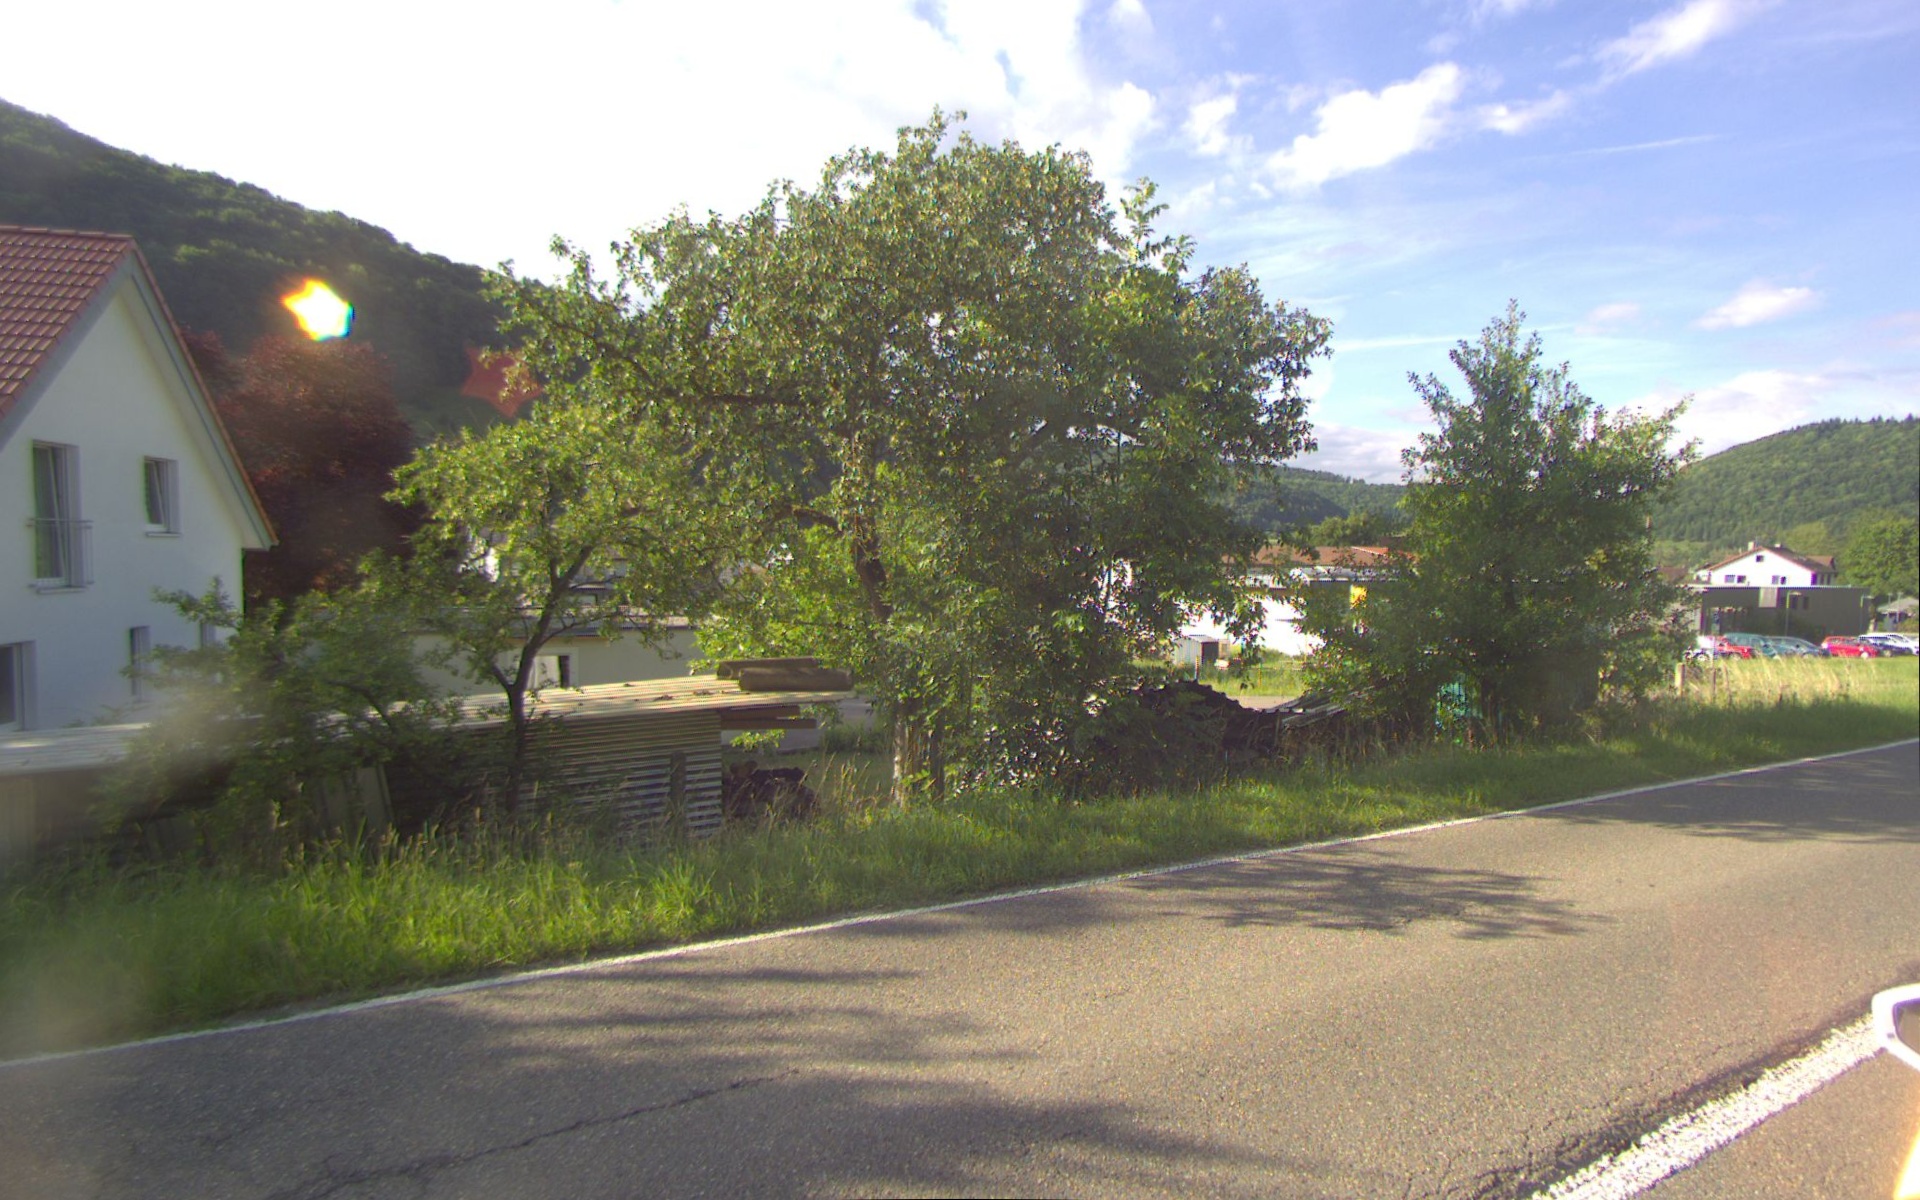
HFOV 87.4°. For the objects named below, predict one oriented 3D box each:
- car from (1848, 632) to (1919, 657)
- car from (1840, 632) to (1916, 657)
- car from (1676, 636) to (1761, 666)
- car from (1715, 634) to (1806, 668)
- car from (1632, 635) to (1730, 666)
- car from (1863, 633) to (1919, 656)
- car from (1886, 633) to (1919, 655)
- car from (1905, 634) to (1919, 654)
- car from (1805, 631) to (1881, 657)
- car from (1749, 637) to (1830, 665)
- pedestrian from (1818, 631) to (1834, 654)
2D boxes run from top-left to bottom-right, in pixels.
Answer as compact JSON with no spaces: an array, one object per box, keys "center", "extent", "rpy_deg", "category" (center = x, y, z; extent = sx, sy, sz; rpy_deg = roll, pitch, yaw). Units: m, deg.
[{"center":[73.171,3.502,79.538],"extent":[1.980,1.733,3.961],"rpy_deg":[2,0,-35],"category":"car"},{"center":[70.423,3.411,77.117],"extent":[1.980,1.733,3.961],"rpy_deg":[2,0,-35],"category":"car"},{"center":[48.833,3.264,64.704],"extent":[1.980,1.733,3.961],"rpy_deg":[2,0,-35],"category":"car"},{"center":[53.811,3.416,67.587],"extent":[1.980,2.034,4.377],"rpy_deg":[2,0,-35],"category":"car"},{"center":[45.764,3.177,63.844],"extent":[1.980,1.733,4.700],"rpy_deg":[2,0,-35],"category":"car"},{"center":[75.920,3.587,81.267],"extent":[1.980,1.733,3.961],"rpy_deg":[2,0,-35],"category":"car"},{"center":[80.702,3.736,84.413],"extent":[1.980,1.733,3.961],"rpy_deg":[2,0,-35],"category":"car"},{"center":[83.127,3.806,85.268],"extent":[1.980,1.733,3.961],"rpy_deg":[2,0,-35],"category":"car"},{"center":[66.189,3.287,75.350],"extent":[1.980,1.733,3.961],"rpy_deg":[2,0,-35],"category":"car"},{"center":[57.340,3.523,69.466],"extent":[1.980,1.733,3.961],"rpy_deg":[2,0,-35],"category":"car"},{"center":[76.992,3.756,89.318],"extent":[0.963,2.040,0.820],"rpy_deg":[1,0,-33],"category":"pedestrian"}]
